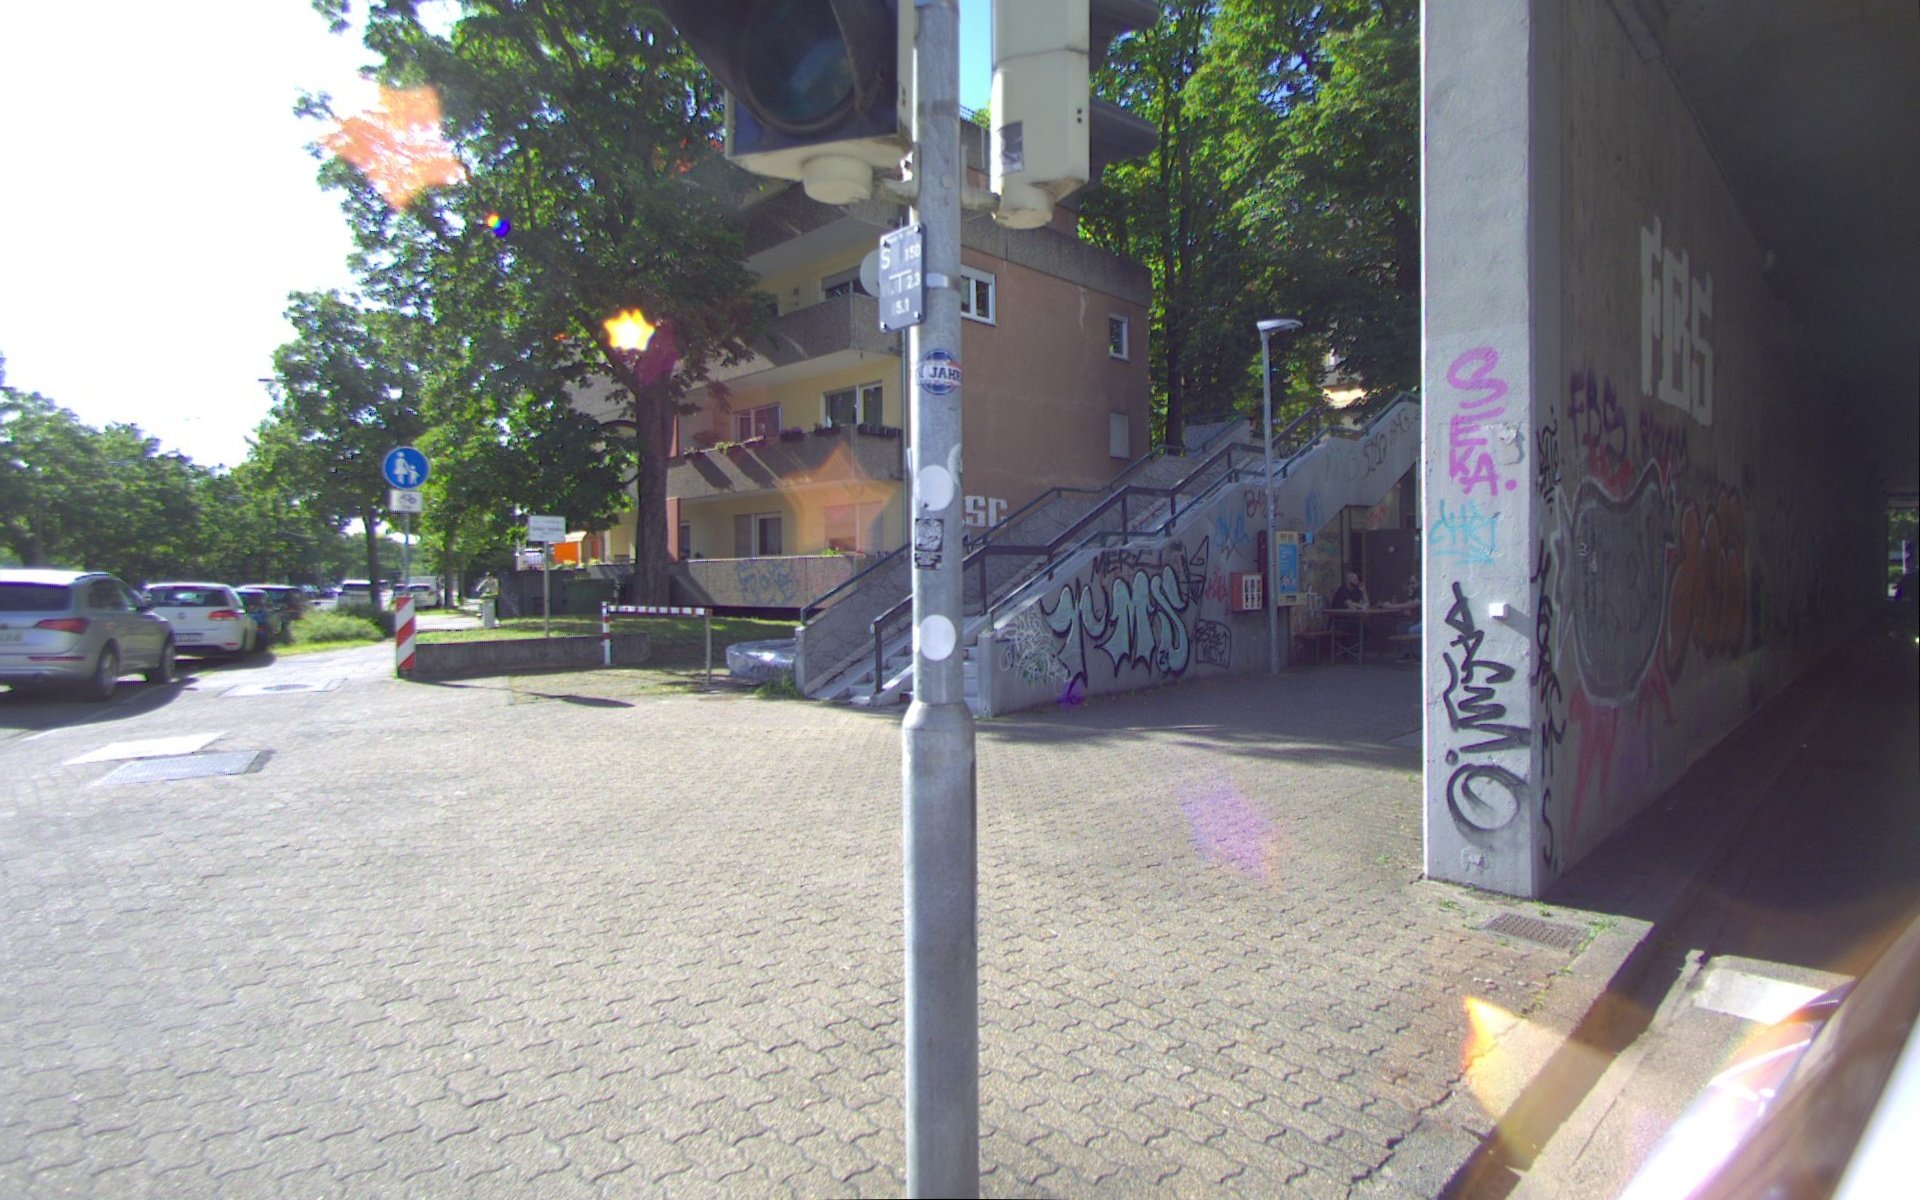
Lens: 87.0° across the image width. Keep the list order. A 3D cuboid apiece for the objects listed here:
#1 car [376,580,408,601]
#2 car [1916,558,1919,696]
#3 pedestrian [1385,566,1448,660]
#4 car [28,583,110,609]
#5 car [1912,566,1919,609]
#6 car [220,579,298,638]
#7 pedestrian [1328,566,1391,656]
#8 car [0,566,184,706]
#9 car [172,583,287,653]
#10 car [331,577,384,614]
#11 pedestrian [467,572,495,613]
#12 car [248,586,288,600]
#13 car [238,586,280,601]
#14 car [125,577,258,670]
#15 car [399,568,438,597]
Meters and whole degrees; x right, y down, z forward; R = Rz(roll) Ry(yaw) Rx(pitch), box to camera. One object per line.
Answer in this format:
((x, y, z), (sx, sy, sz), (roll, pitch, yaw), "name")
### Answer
((-41.601, -0.703, 74.147), (1.728, 1.474, 3.700), (-1, 1, -25), "car")
((13.381, 0.260, 12.627), (4.959, 1.575, 1.954), (-2, 2, -45), "car")
((6.606, 0.173, 14.651), (0.720, 1.315, 0.581), (0, 1, 39), "pedestrian")
((-44.251, -0.183, 50.328), (2.846, 1.191, 1.257), (-2, 1, -29), "car")
((32.712, -0.440, 33.512), (4.131, 1.392, 1.613), (-2, 2, -45), "car")
((-18.895, 0.187, 27.380), (1.455, 1.479, 3.374), (0, 1, -30), "car")
((5.988, 0.148, 15.176), (0.736, 1.315, 0.605), (0, 1, 39), "pedestrian")
((-12.252, 0.363, 13.745), (1.896, 1.640, 4.330), (-1, 2, -27), "car")
((-16.467, 0.351, 22.953), (1.632, 1.423, 3.298), (0, 1, -27), "car")
((-27.199, -0.221, 45.737), (1.773, 1.567, 3.542), (0, 1, -26), "car")
((-18.785, -0.313, 39.680), (0.860, 1.572, 0.936), (-1, 1, -17), "pedestrian")
((-71.515, -0.708, 104.696), (3.271, 1.336, 1.401), (-2, 1, -29), "car")
((-69.362, -0.648, 100.138), (3.271, 1.304, 1.305), (-2, 1, -29), "car")
((-14.220, 0.362, 18.892), (1.623, 1.551, 3.511), (0, 1, -32), "car")
((-32.247, -1.062, 60.341), (1.773, 1.695, 3.884), (-1, 2, -25), "car")
